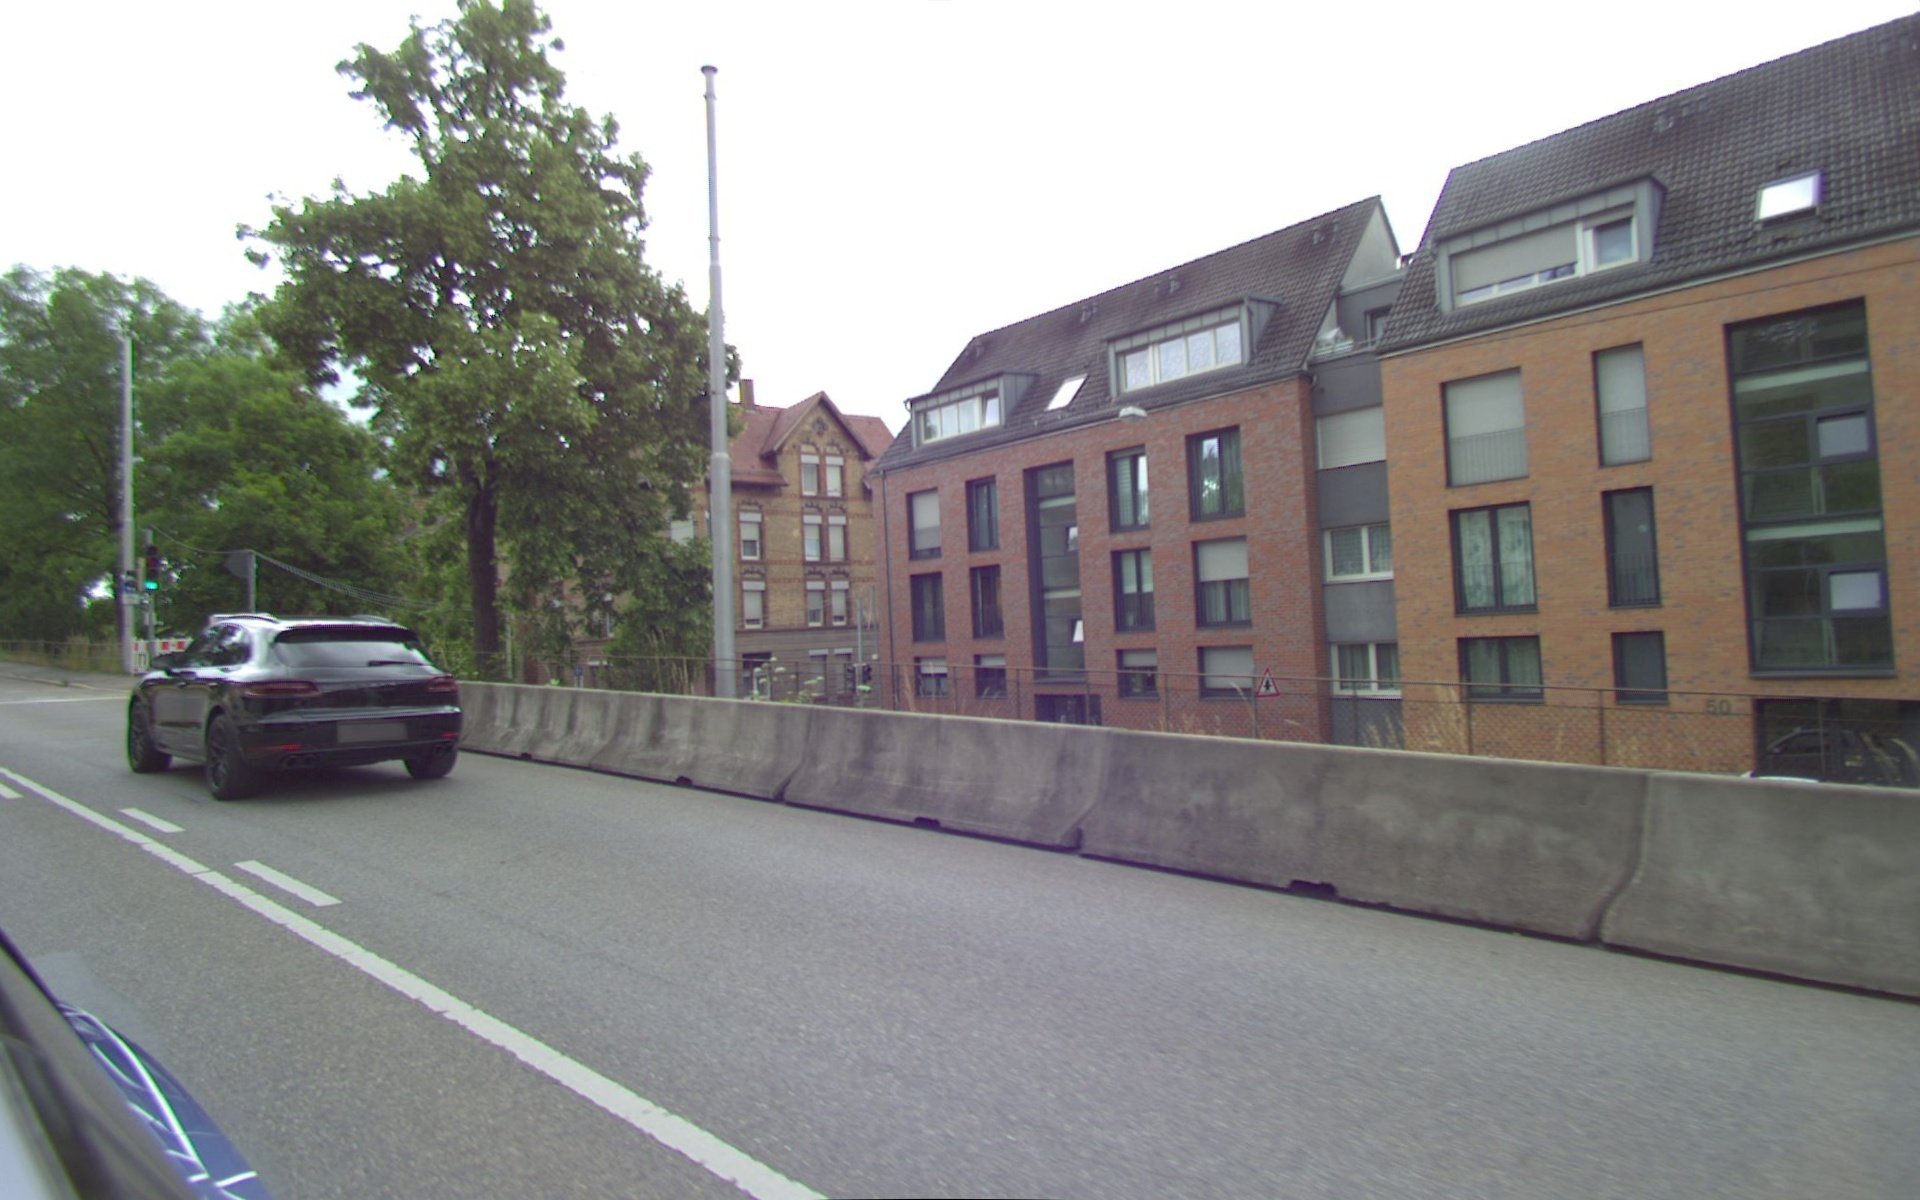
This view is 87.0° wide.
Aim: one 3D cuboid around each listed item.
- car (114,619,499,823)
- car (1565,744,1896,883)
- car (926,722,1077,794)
[{"bbox_3d":[-6.602,1.056,10.055,4.370,1.587,1.962,-3,-4,39],"label":"car"},{"bbox_3d":[12.268,3.297,16.303,1.773,1.522,4.003,3,-4,-44],"label":"car"},{"bbox_3d":[1.081,4.253,27.722,1.773,1.522,4.002,3,-4,-44],"label":"car"}]
